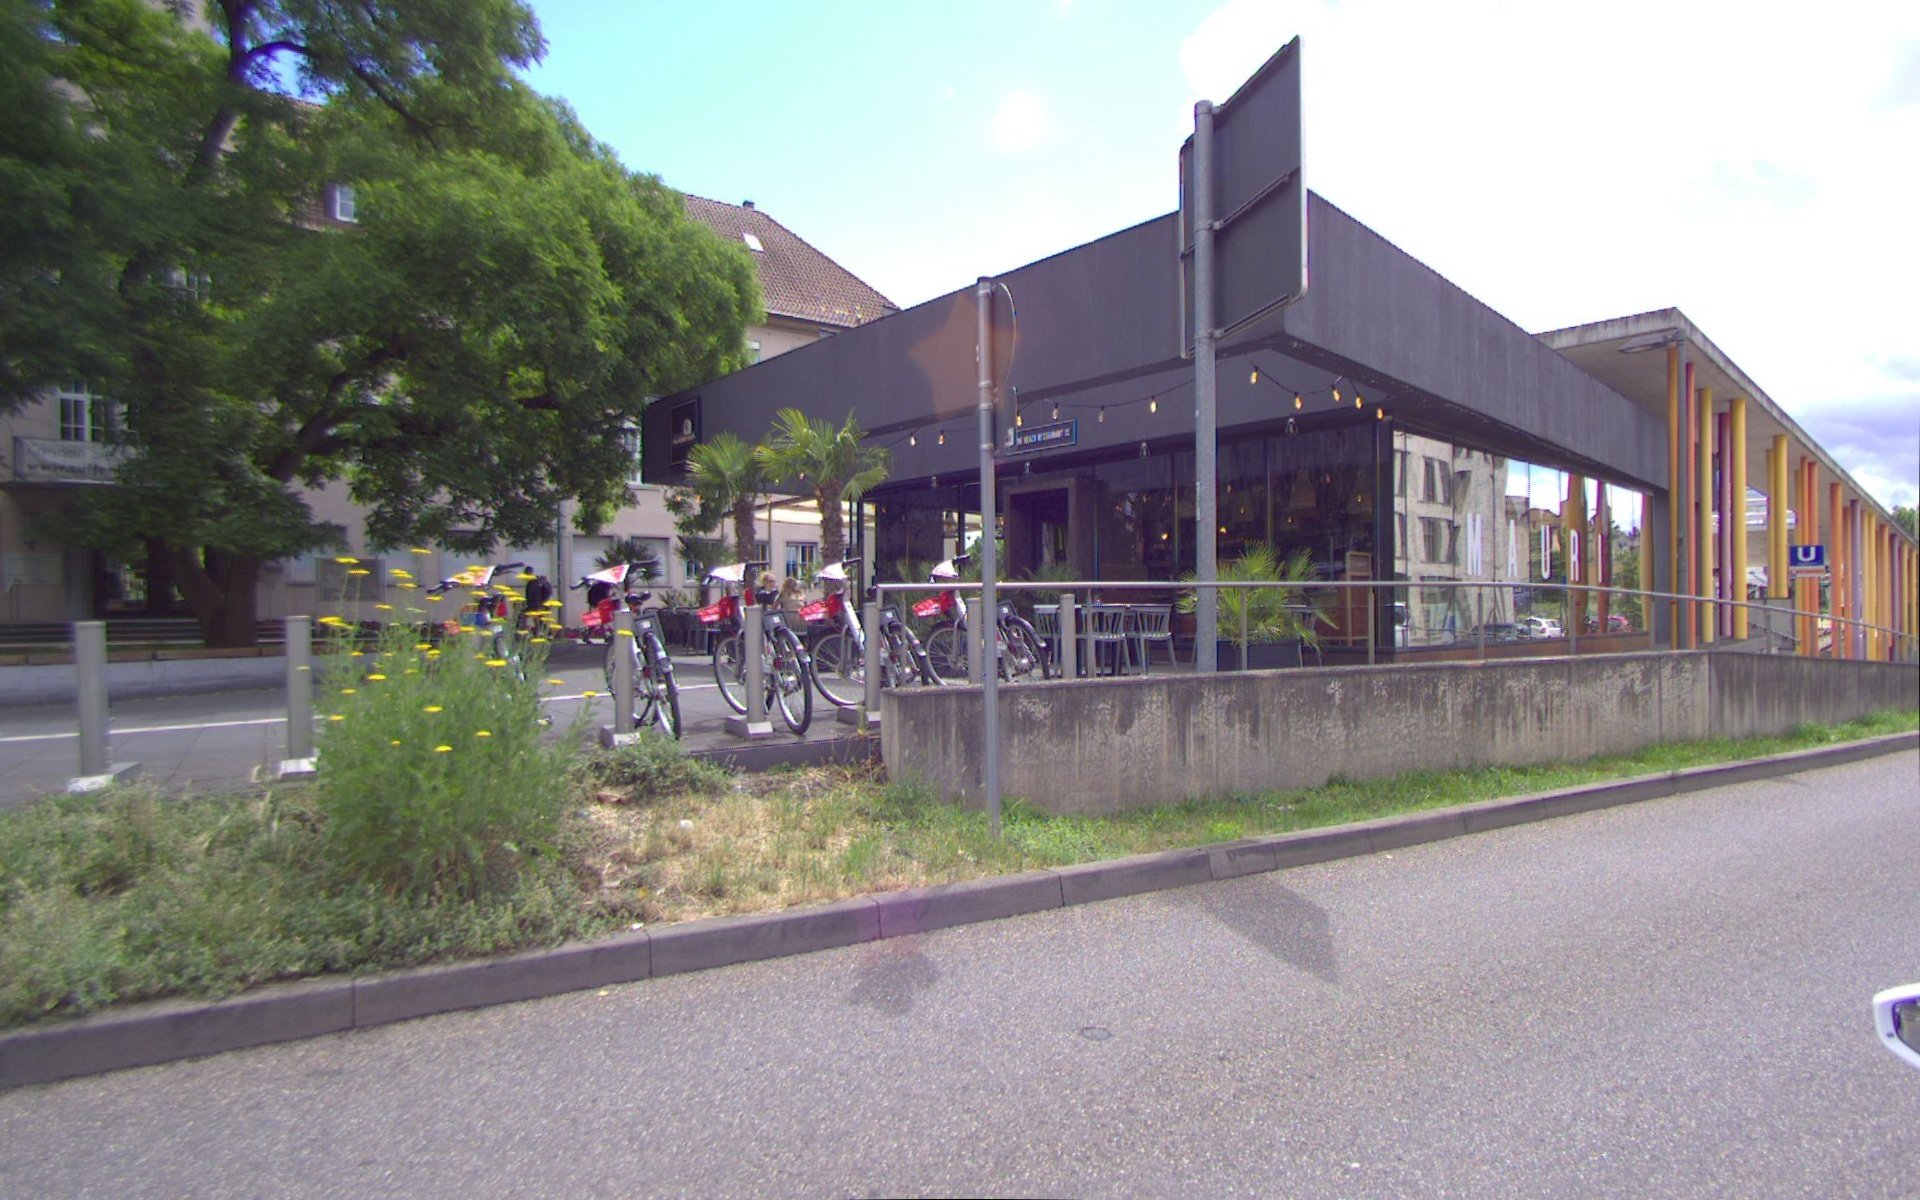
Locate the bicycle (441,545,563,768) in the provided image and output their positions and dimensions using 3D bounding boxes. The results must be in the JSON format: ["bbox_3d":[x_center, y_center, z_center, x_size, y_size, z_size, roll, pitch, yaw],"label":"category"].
[{"bbox_3d":[-2.744,0.308,5.947,0.527,1.142,1.539,0,-1,-29],"label":"bicycle"}]

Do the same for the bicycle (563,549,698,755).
[{"bbox_3d":[-2.133,0.310,6.396,0.527,1.142,1.539,0,-1,-29],"label":"bicycle"}]

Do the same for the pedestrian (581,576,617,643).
[{"bbox_3d":[-8.663,0.233,24.112,0.636,1.585,0.730,2,-1,-31],"label":"pedestrian"}]

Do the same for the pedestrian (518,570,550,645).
[{"bbox_3d":[-10.492,0.188,24.728,0.586,1.832,0.639,2,-1,-30],"label":"pedestrian"}]

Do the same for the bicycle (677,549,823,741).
[{"bbox_3d":[-1.455,0.288,6.782,0.527,1.142,1.539,0,-1,-29],"label":"bicycle"}]

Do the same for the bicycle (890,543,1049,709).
[{"bbox_3d":[0.030,0.198,7.714,0.527,1.142,1.539,0,-1,-29],"label":"bicycle"}]

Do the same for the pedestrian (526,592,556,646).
[{"bbox_3d":[-10.754,0.489,25.768,0.586,1.356,0.639,2,-1,-30],"label":"pedestrian"}]

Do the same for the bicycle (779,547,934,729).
[{"bbox_3d":[-0.776,0.261,7.116,0.527,1.142,1.539,0,-1,-29],"label":"bicycle"}]

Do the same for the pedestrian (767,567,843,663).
[{"bbox_3d":[-2.321,0.227,15.060,0.787,1.397,0.790,2,-1,-43],"label":"pedestrian"}]

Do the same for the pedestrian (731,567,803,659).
[{"bbox_3d":[-3.038,0.209,15.841,0.787,1.397,0.790,2,-1,-43],"label":"pedestrian"}]
